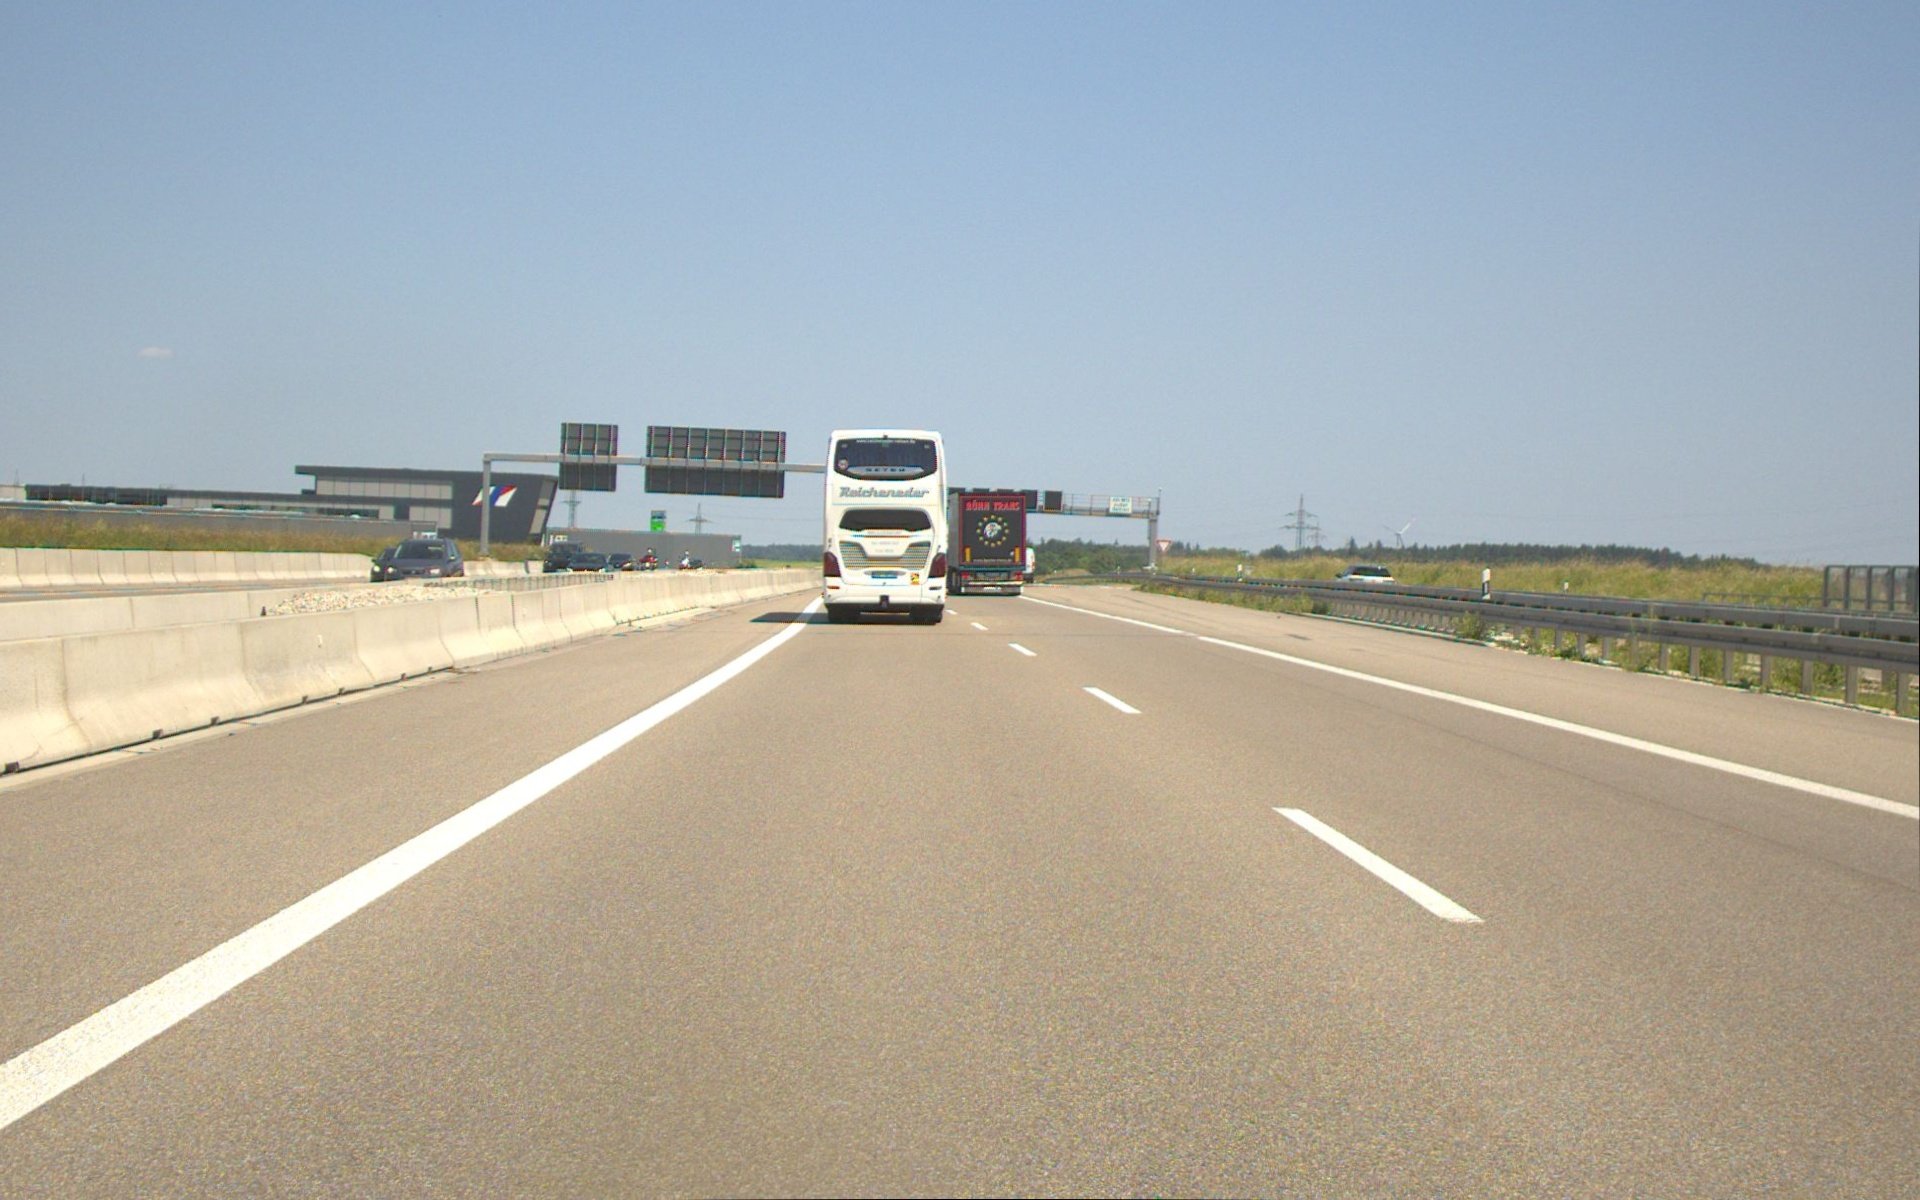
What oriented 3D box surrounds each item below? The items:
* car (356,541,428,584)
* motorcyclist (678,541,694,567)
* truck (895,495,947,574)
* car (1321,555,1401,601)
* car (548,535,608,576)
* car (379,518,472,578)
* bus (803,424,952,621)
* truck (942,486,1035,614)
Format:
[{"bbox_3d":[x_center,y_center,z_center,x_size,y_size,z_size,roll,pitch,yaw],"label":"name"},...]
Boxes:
[{"bbox_3d":[-19.957,-1.324,120.979,1.910,1.454,4.285,1,1,-2],"label":"car"},{"bbox_3d":[-17.048,-2.865,213.756,0.920,1.616,1.088,1,0,0],"label":"motorcyclist"},{"bbox_3d":[-1.969,-3.227,170.122,2.437,3.776,6.494,1,1,-1],"label":"truck"},{"bbox_3d":[13.964,-0.790,119.843,1.890,1.524,4.263,1,1,-5],"label":"car"},{"bbox_3d":[-16.354,-1.908,147.336,1.993,1.663,4.649,1,1,0],"label":"car"},{"bbox_3d":[-15.629,-1.510,100.710,1.885,1.680,5.015,1,1,0],"label":"car"},{"bbox_3d":[-1.835,-1.667,74.712,2.980,3.961,9.106,1,1,-2],"label":"bus"},{"bbox_3d":[1.203,-1.847,136.383,3.379,4.449,13.565,2,-1,1],"label":"truck"}]
